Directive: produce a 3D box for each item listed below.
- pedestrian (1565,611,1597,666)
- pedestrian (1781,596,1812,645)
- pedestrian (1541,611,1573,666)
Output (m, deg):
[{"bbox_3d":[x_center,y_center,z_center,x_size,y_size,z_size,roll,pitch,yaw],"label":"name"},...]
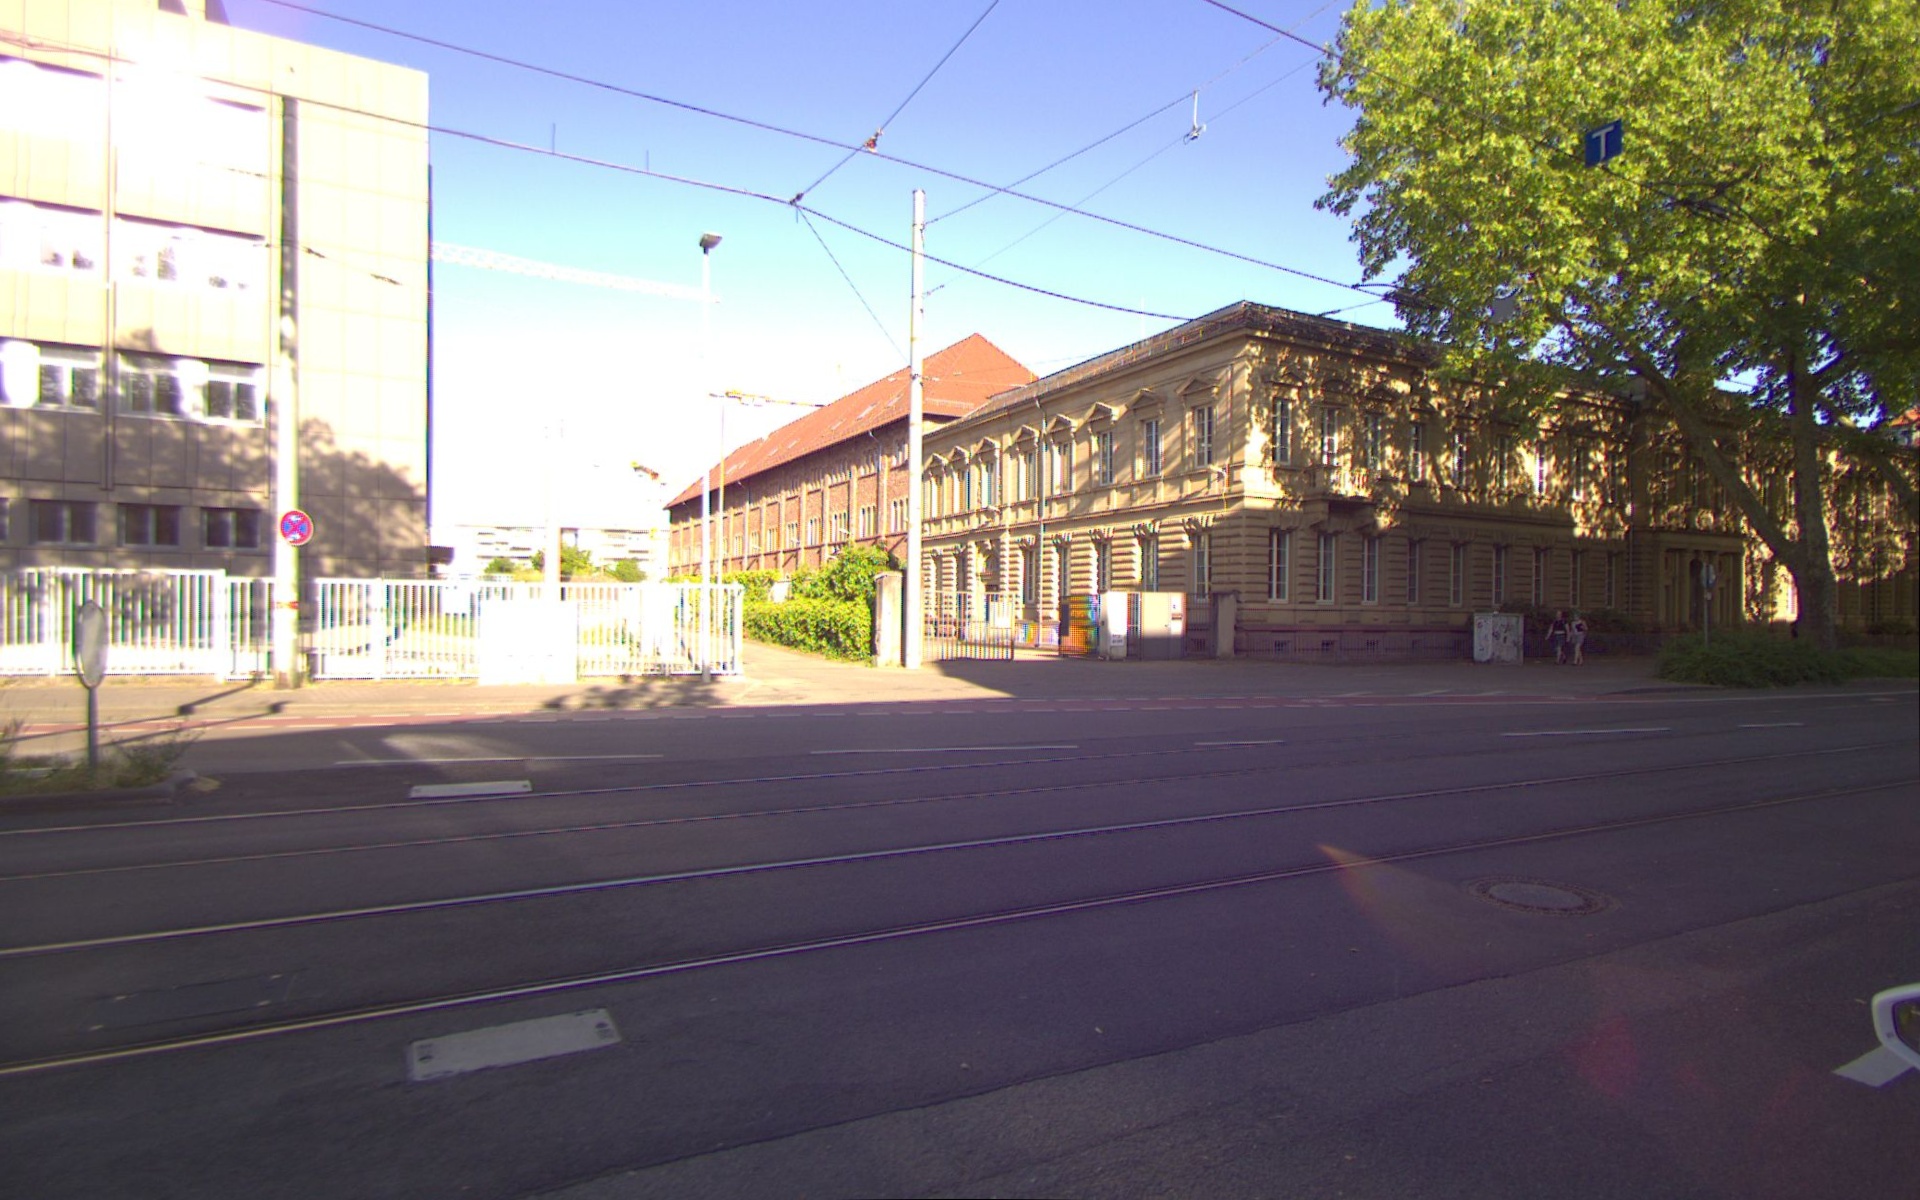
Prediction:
[{"bbox_3d":[19.533,1.204,31.601,0.650,1.720,0.629,1,0,-36],"label":"pedestrian"},{"bbox_3d":[32.744,0.797,39.318,0.829,1.874,0.714,1,0,-36],"label":"pedestrian"},{"bbox_3d":[19.082,1.229,32.109,0.655,1.720,0.666,1,0,-36],"label":"pedestrian"}]
